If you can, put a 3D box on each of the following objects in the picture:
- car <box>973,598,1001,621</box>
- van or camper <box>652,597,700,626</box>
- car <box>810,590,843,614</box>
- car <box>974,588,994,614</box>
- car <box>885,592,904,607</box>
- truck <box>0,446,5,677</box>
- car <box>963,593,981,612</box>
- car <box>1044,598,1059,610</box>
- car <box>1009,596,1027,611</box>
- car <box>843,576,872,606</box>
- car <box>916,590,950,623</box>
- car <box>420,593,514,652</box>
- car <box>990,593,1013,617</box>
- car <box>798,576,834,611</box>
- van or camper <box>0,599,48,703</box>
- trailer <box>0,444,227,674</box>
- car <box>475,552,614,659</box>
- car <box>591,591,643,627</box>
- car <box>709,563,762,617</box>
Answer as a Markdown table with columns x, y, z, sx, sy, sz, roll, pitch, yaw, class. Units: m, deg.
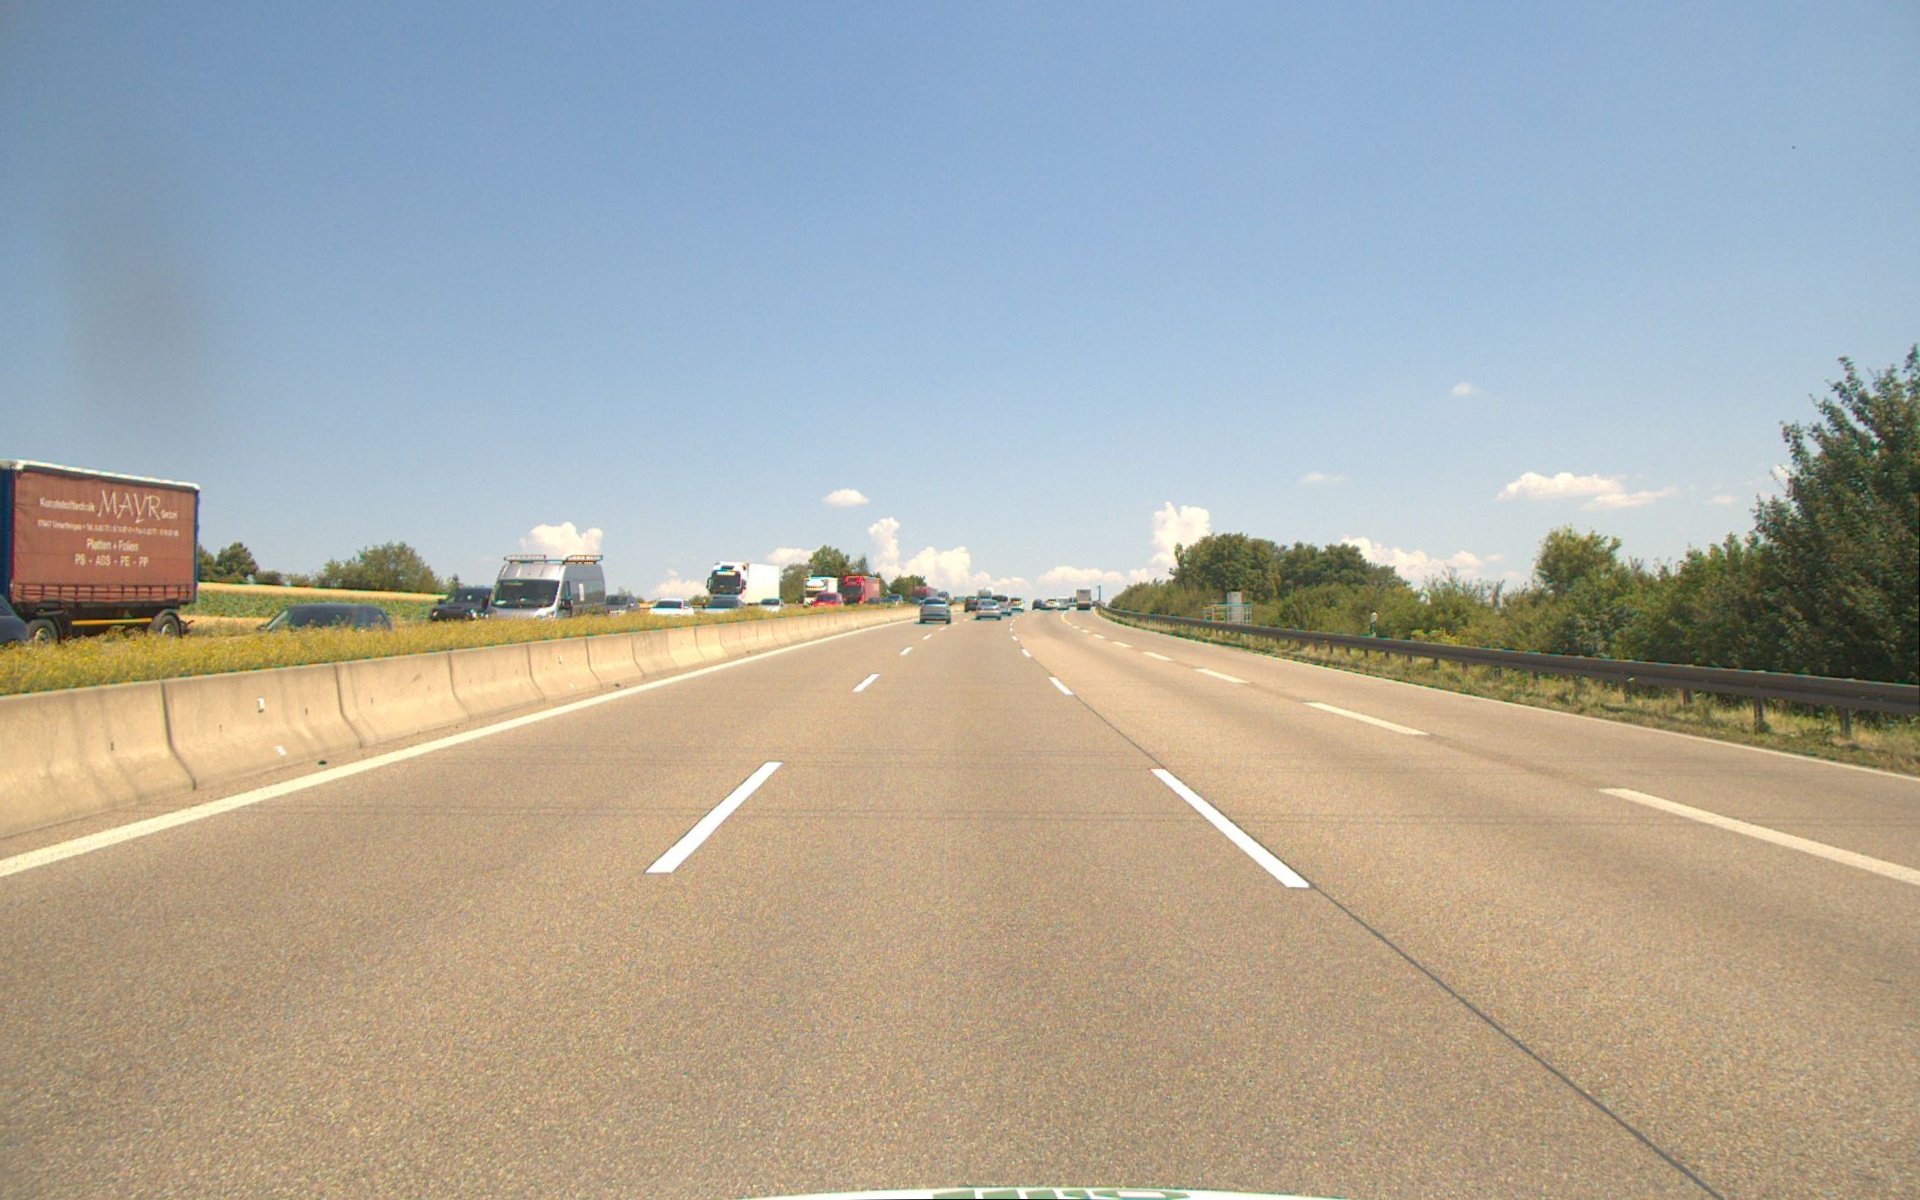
| x | y | z | sx | sy | sz | roll | pitch | yaw | class |
| --- | --- | --- | --- | --- | --- | --- | --- | --- | --- |
| 1.915 | 0.686 | 120.423 | 1.953 | 1.613 | 3.999 | 0 | -1 | 0 | car |
| -13.812 | 0.564 | 80.589 | 1.701 | 1.368 | 3.999 | 1 | -1 | -1 | van or camper |
| -9.568 | 0.143 | 118.787 | 1.952 | 1.646 | 4.001 | 1 | 0 | 1 | car |
| 2.721 | 0.118 | 185.858 | 2.135 | 2.671 | 4.672 | 1 | -3 | 1 | car |
| -7.854 | -0.079 | 198.475 | 1.952 | 1.646 | 4.001 | 1 | 0 | 1 | car |
| -19.133 | -0.726 | 25.258 | 2.828 | 4.244 | 10.622 | 1 | 0 | 0 | truck |
| 1.311 | 0.249 | 174.462 | 1.809 | 1.893 | 4.206 | 1 | 1 | 1 | car |
| 11.415 | 0.494 | 206.698 | 1.862 | 1.467 | 4.001 | 1 | 0 | 3 | car |
| 6.468 | 0.398 | 184.998 | 1.952 | 1.579 | 4.001 | 2 | 0 | 3 | car |
| -12.102 | -1.030 | 195.569 | 2.489 | 3.438 | 8.182 | 1 | 0 | 2 | car |
| -1.638 | 0.438 | 100.138 | 1.953 | 1.781 | 3.998 | 1 | -3 | -1 | car |
| -15.098 | 0.668 | 50.855 | 1.701 | 1.699 | 3.999 | 1 | 0 | -1 | car |
| 3.684 | 0.478 | 146.163 | 1.952 | 1.937 | 4.000 | 1 | -3 | 2 | car |
| -14.420 | -0.631 | 165.926 | 2.489 | 3.438 | 8.182 | 1 | 0 | 2 | car |
| -14.737 | 0.729 | 22.985 | 1.953 | 1.478 | 3.999 | 1 | 0 | -1 | van or camper |
| -19.066 | -0.786 | 35.196 | 2.719 | 4.256 | 9.177 | 1 | 0 | 0 | trailer |
| -11.391 | 0.157 | 45.838 | 2.356 | 2.726 | 6.036 | 1 | 0 | -1 | car |
| -18.505 | 0.503 | 89.363 | 1.953 | 1.881 | 3.999 | 1 | 0 | -1 | car |
| -16.793 | -0.757 | 124.219 | 2.489 | 3.899 | 8.182 | 1 | 0 | 2 | car |
